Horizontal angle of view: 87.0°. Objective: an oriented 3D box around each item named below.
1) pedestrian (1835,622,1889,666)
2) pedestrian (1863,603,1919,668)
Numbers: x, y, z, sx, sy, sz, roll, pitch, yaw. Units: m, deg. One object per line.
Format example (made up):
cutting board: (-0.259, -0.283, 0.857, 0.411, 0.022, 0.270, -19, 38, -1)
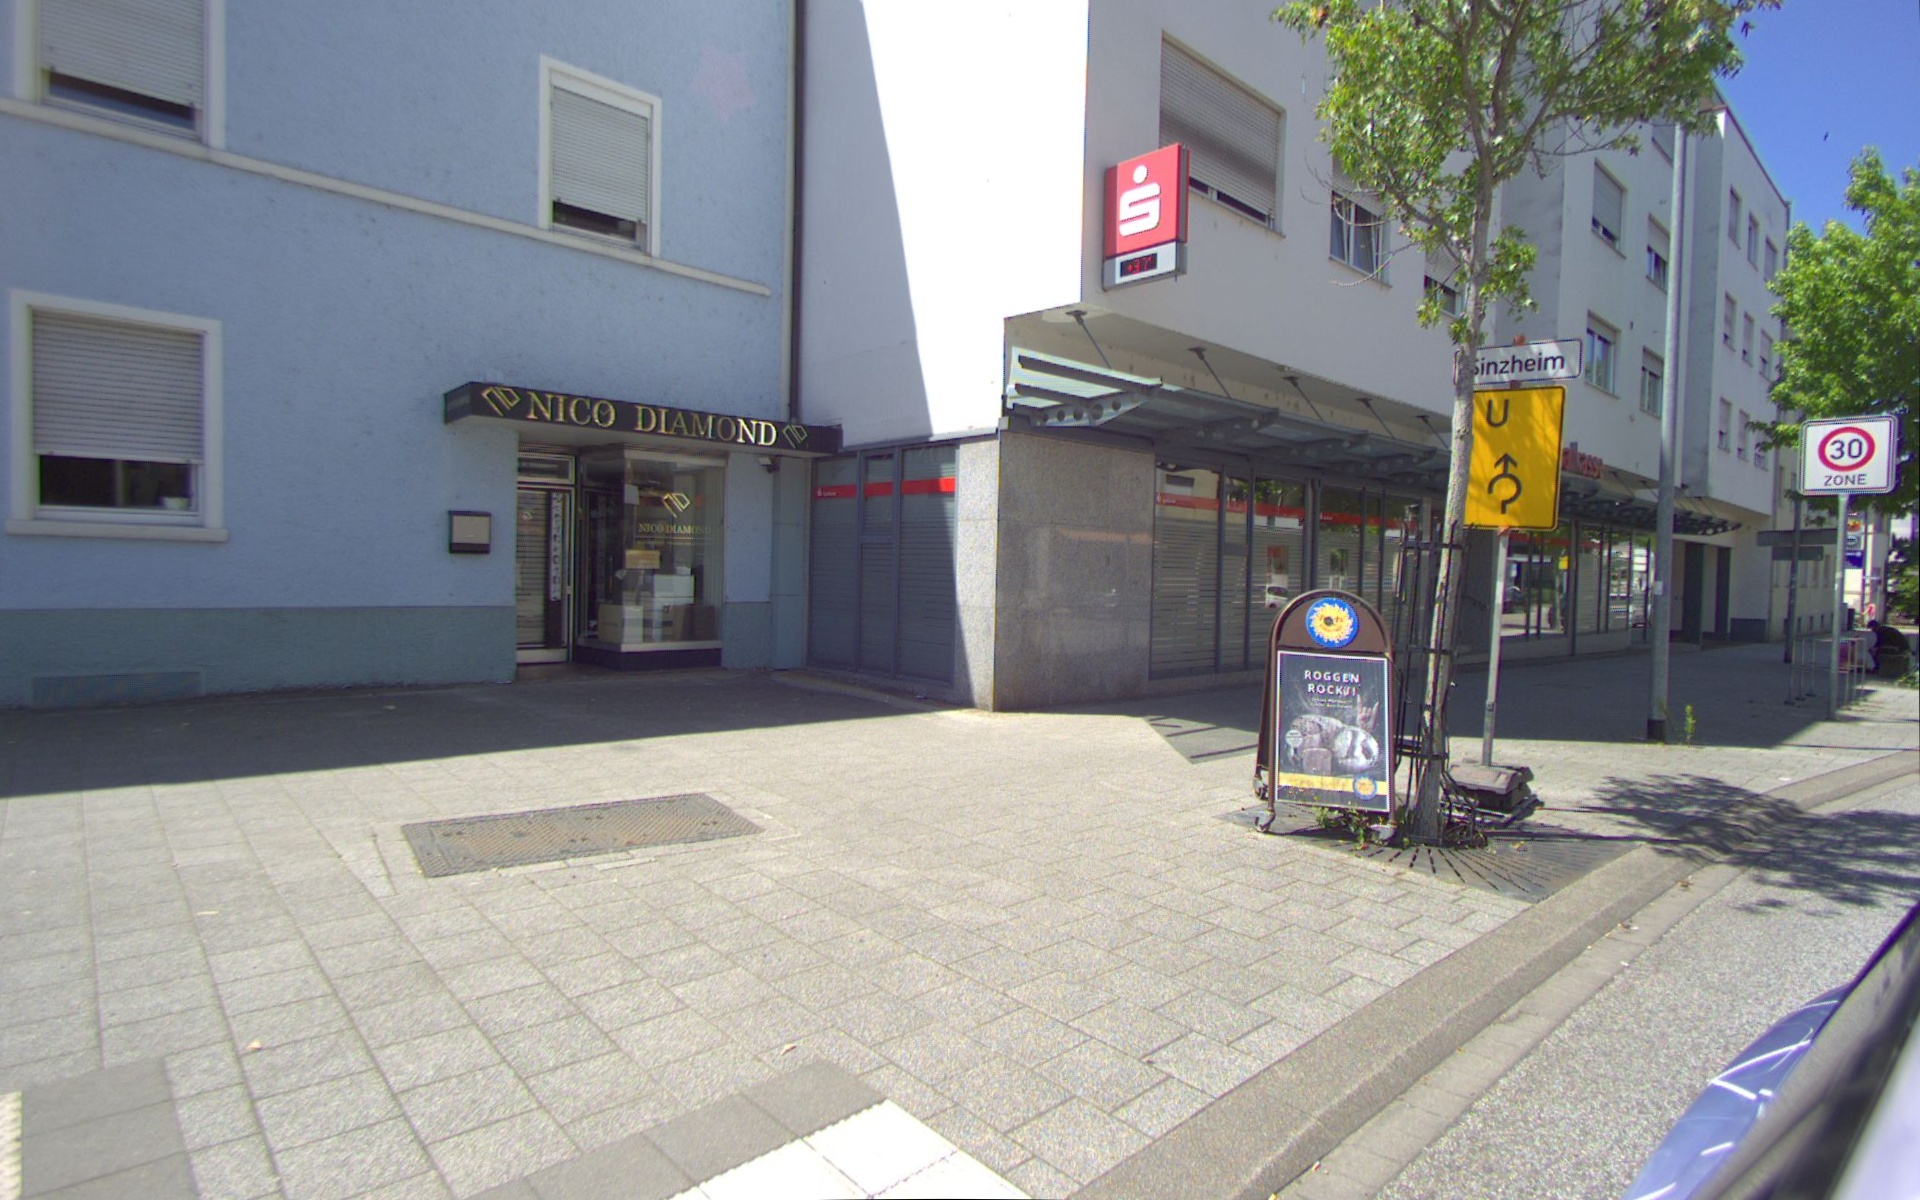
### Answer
pedestrian: (19.215, 0.934, 21.563, 0.527, 0.862, 0.681, 1, 2, -28)
pedestrian: (19.050, 0.717, 20.646, 0.527, 1.255, 0.764, 1, 2, -28)
